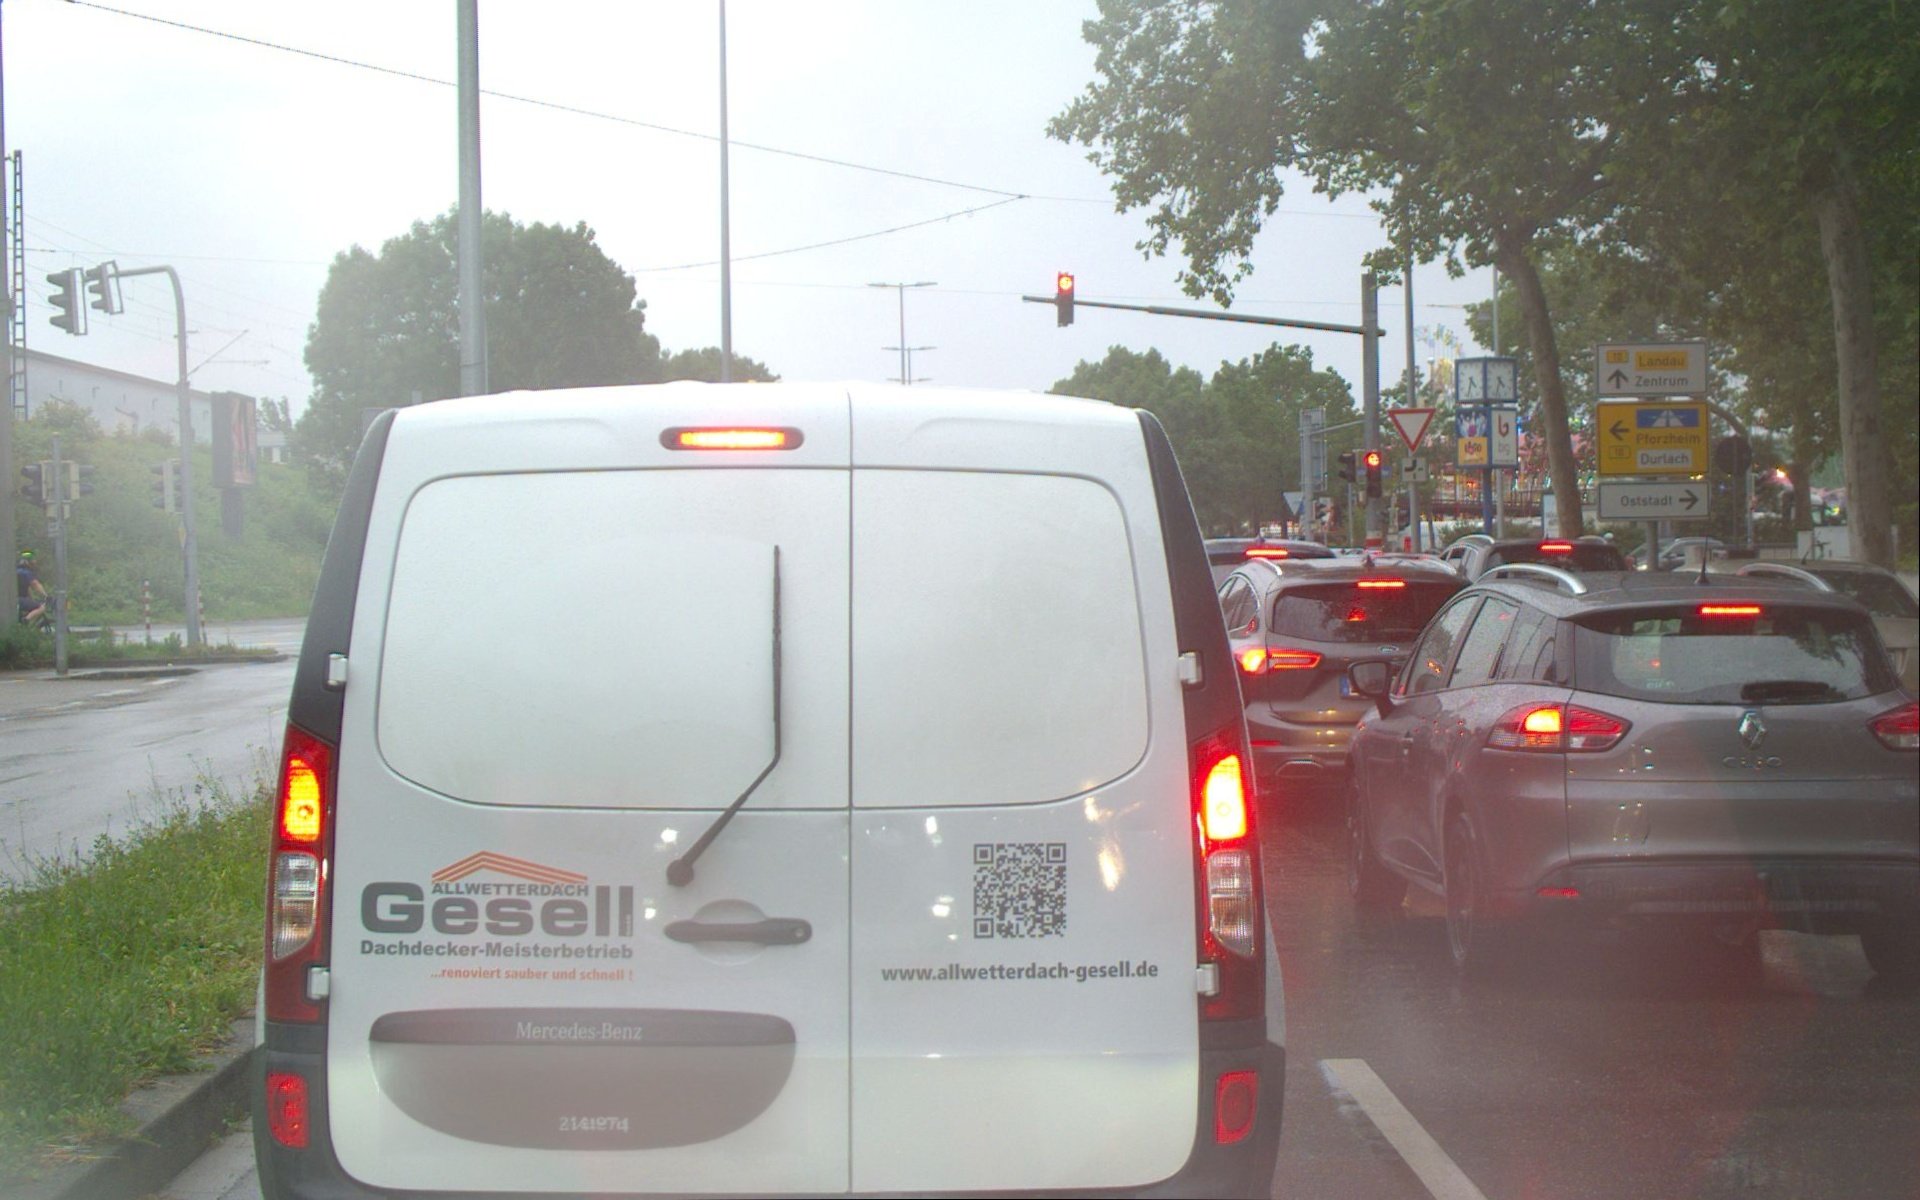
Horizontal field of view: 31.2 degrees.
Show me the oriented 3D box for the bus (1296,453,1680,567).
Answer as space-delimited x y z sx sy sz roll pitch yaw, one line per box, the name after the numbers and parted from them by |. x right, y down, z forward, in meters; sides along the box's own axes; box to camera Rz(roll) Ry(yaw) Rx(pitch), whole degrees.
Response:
16.953 -2.914 110.873 11.970 3.411 2.315 -1 1 0 | bus

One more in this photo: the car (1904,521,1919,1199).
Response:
2.971 0.642 5.406 1.747 1.549 4.091 0 1 -1 | car

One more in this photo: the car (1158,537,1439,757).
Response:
2.667 0.319 27.857 1.854 1.644 3.843 0 1 -1 | car

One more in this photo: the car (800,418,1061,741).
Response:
-0.232 -0.186 26.407 1.854 2.288 3.843 0 1 -1 | car

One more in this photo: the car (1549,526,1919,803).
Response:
5.190 0.347 22.574 1.876 1.607 4.000 1 1 -1 | car

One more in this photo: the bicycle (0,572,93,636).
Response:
-14.823 0.055 55.571 1.040 0.949 2.889 -2 2 -25 | bicycle

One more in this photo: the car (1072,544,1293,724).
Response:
2.109 0.292 33.520 1.854 1.644 3.843 0 1 -1 | car

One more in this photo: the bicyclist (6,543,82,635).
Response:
-14.805 -0.189 55.553 1.040 1.445 0.729 -2 2 -25 | bicyclist

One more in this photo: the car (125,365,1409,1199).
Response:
-0.322 0.474 7.648 1.993 1.770 4.585 0 1 -1 | car

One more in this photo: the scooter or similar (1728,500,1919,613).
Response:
19.980 -0.983 77.059 1.890 2.437 5.316 -1 1 -41 | scooter or similar

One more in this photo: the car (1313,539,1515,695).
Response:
5.049 0.163 38.630 1.708 1.644 3.843 0 1 -1 | car

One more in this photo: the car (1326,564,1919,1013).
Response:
2.493 0.595 13.101 1.683 1.403 3.843 1 1 -1 | car

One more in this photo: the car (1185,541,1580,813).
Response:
2.426 0.385 20.629 1.854 1.455 3.843 0 1 -1 | car

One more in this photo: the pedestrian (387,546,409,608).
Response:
-15.712 -0.646 96.101 0.543 1.710 0.563 1 0 -4 | pedestrian
